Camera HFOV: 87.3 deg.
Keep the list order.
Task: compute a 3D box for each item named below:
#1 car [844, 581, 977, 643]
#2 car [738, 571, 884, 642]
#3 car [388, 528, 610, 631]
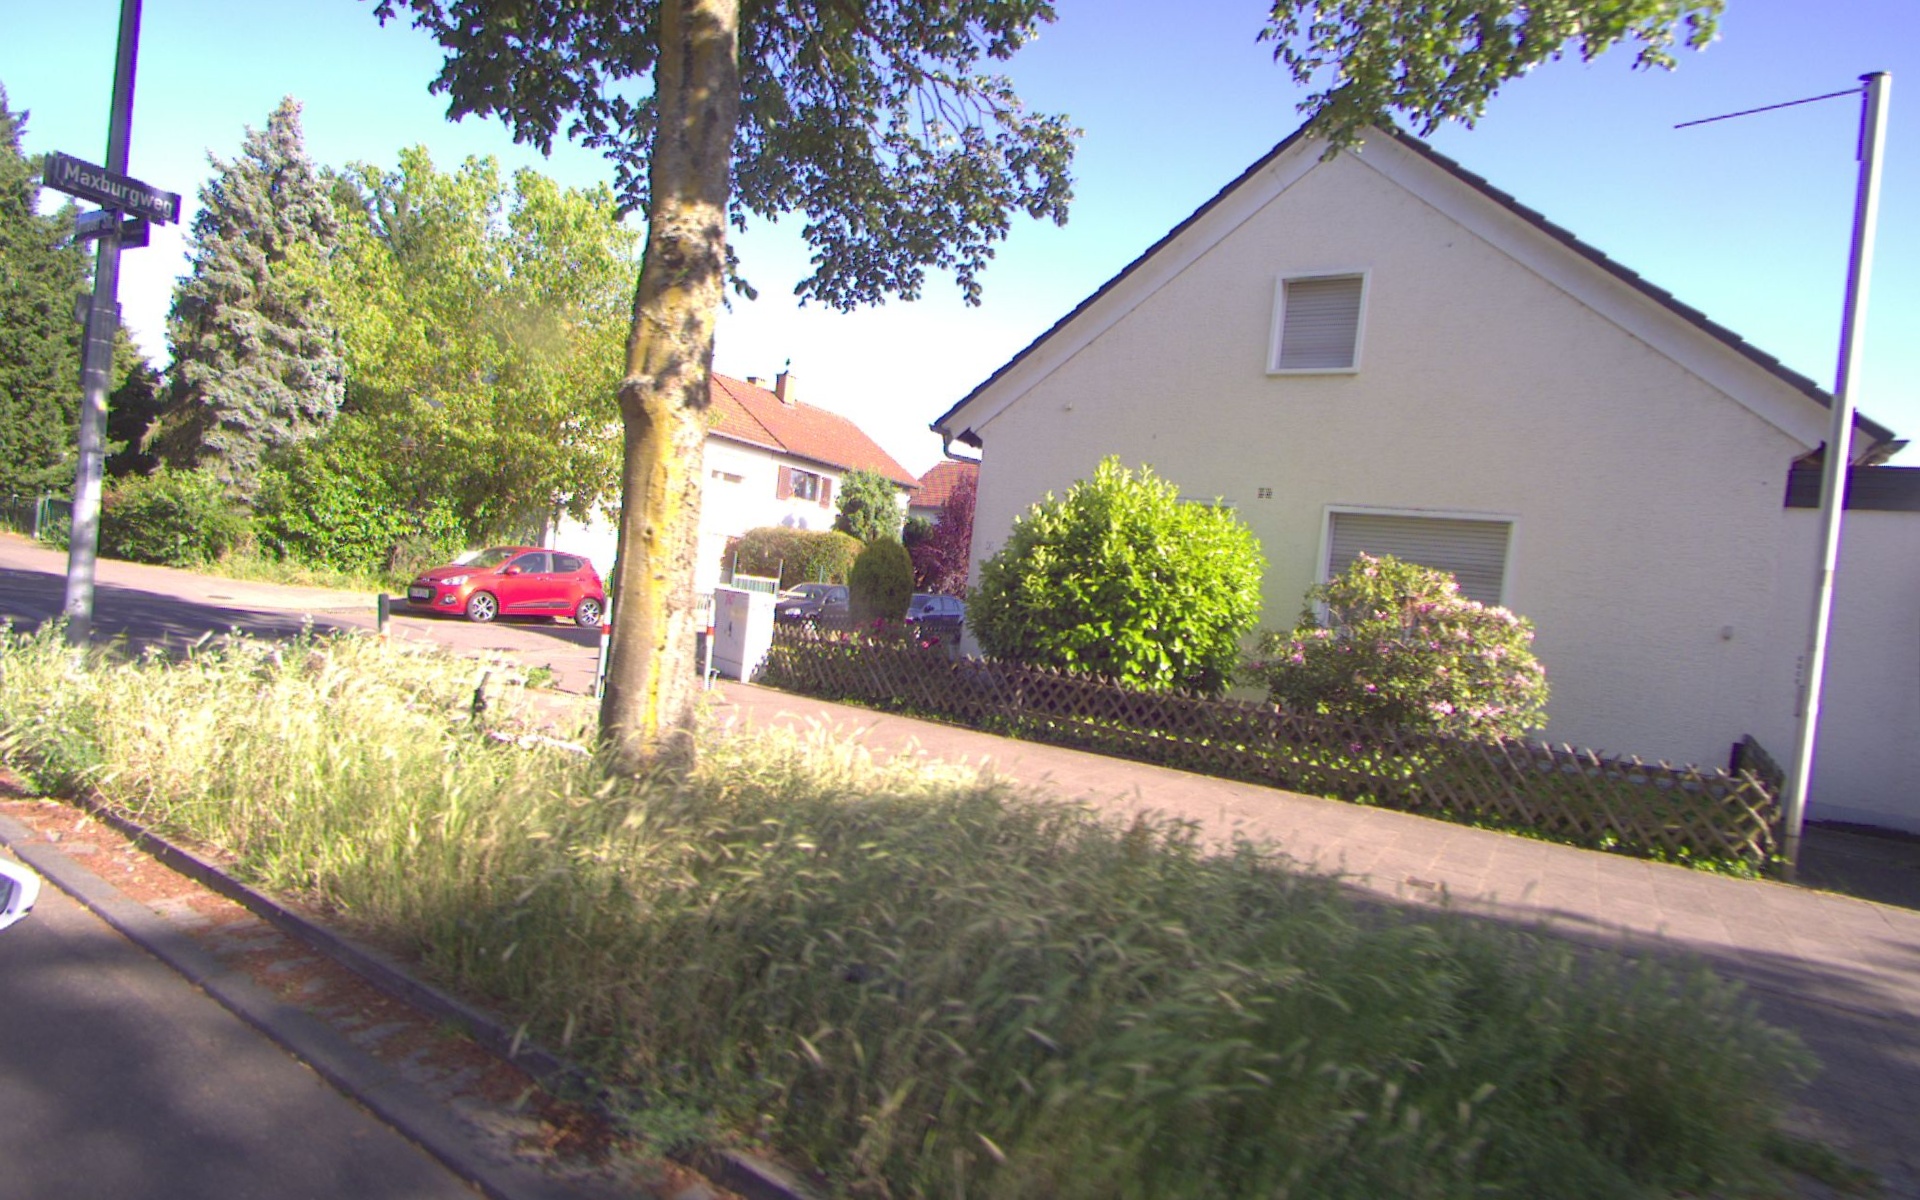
[{"bbox_3d":[-1.467,0.421,31.543,1.858,1.529,4.301,7,0,34],"label":"car"},{"bbox_3d":[-3.969,0.226,27.471,1.811,1.529,3.961,7,0,28],"label":"car"},{"bbox_3d":[-8.824,-0.333,19.538,1.611,1.529,3.547,8,0,28],"label":"car"}]
